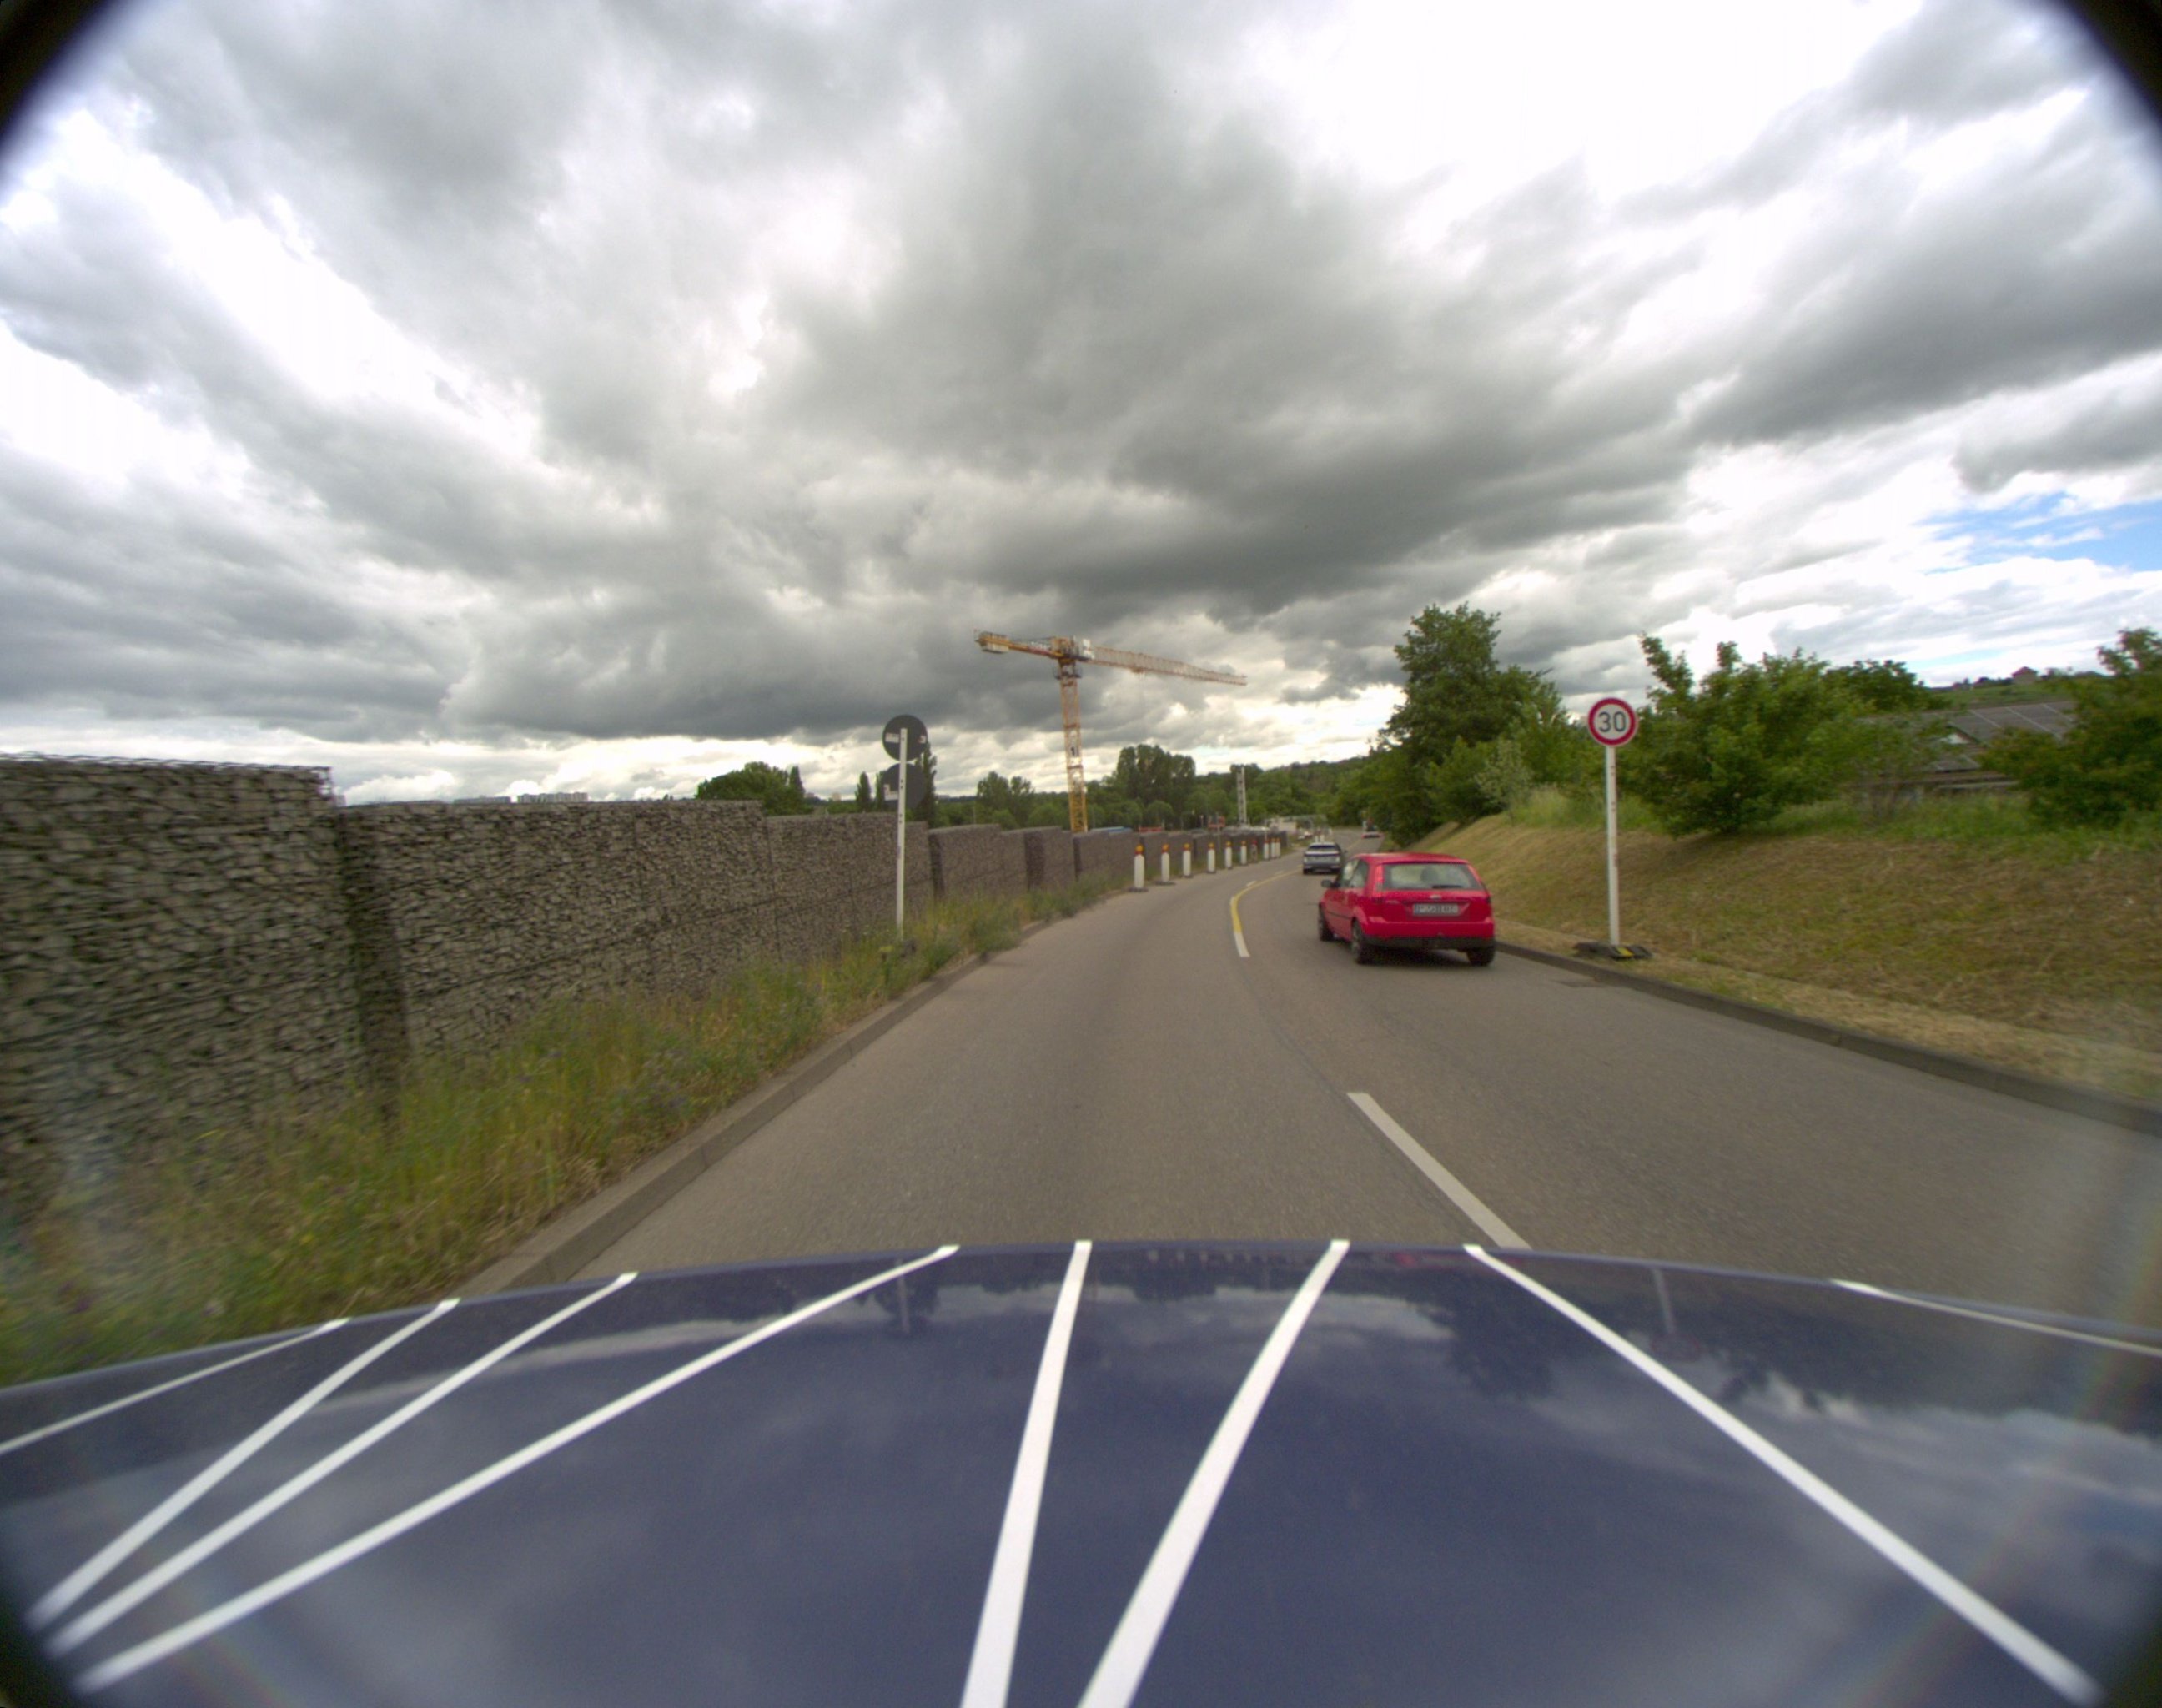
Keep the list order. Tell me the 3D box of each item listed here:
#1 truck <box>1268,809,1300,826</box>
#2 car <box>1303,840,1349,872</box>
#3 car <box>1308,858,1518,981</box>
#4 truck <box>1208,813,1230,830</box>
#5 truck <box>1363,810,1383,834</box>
[{"bbox_3d":[42.336,-7.613,158.755,2.761,3.240,7.599,-5,3,-15],"label":"truck"},{"bbox_3d":[11.633,0.079,36.310,1.884,1.469,4.607,0,0,16],"label":"car"},{"bbox_3d":[4.481,0.786,10.874,1.745,1.408,3.755,-1,0,7],"label":"car"},{"bbox_3d":[33.721,-8.014,186.464,3.039,3.877,9.996,-5,3,-2],"label":"truck"},{"bbox_3d":[39.418,-4.283,102.537,2.217,2.998,7.750,0,2,23],"label":"truck"}]
